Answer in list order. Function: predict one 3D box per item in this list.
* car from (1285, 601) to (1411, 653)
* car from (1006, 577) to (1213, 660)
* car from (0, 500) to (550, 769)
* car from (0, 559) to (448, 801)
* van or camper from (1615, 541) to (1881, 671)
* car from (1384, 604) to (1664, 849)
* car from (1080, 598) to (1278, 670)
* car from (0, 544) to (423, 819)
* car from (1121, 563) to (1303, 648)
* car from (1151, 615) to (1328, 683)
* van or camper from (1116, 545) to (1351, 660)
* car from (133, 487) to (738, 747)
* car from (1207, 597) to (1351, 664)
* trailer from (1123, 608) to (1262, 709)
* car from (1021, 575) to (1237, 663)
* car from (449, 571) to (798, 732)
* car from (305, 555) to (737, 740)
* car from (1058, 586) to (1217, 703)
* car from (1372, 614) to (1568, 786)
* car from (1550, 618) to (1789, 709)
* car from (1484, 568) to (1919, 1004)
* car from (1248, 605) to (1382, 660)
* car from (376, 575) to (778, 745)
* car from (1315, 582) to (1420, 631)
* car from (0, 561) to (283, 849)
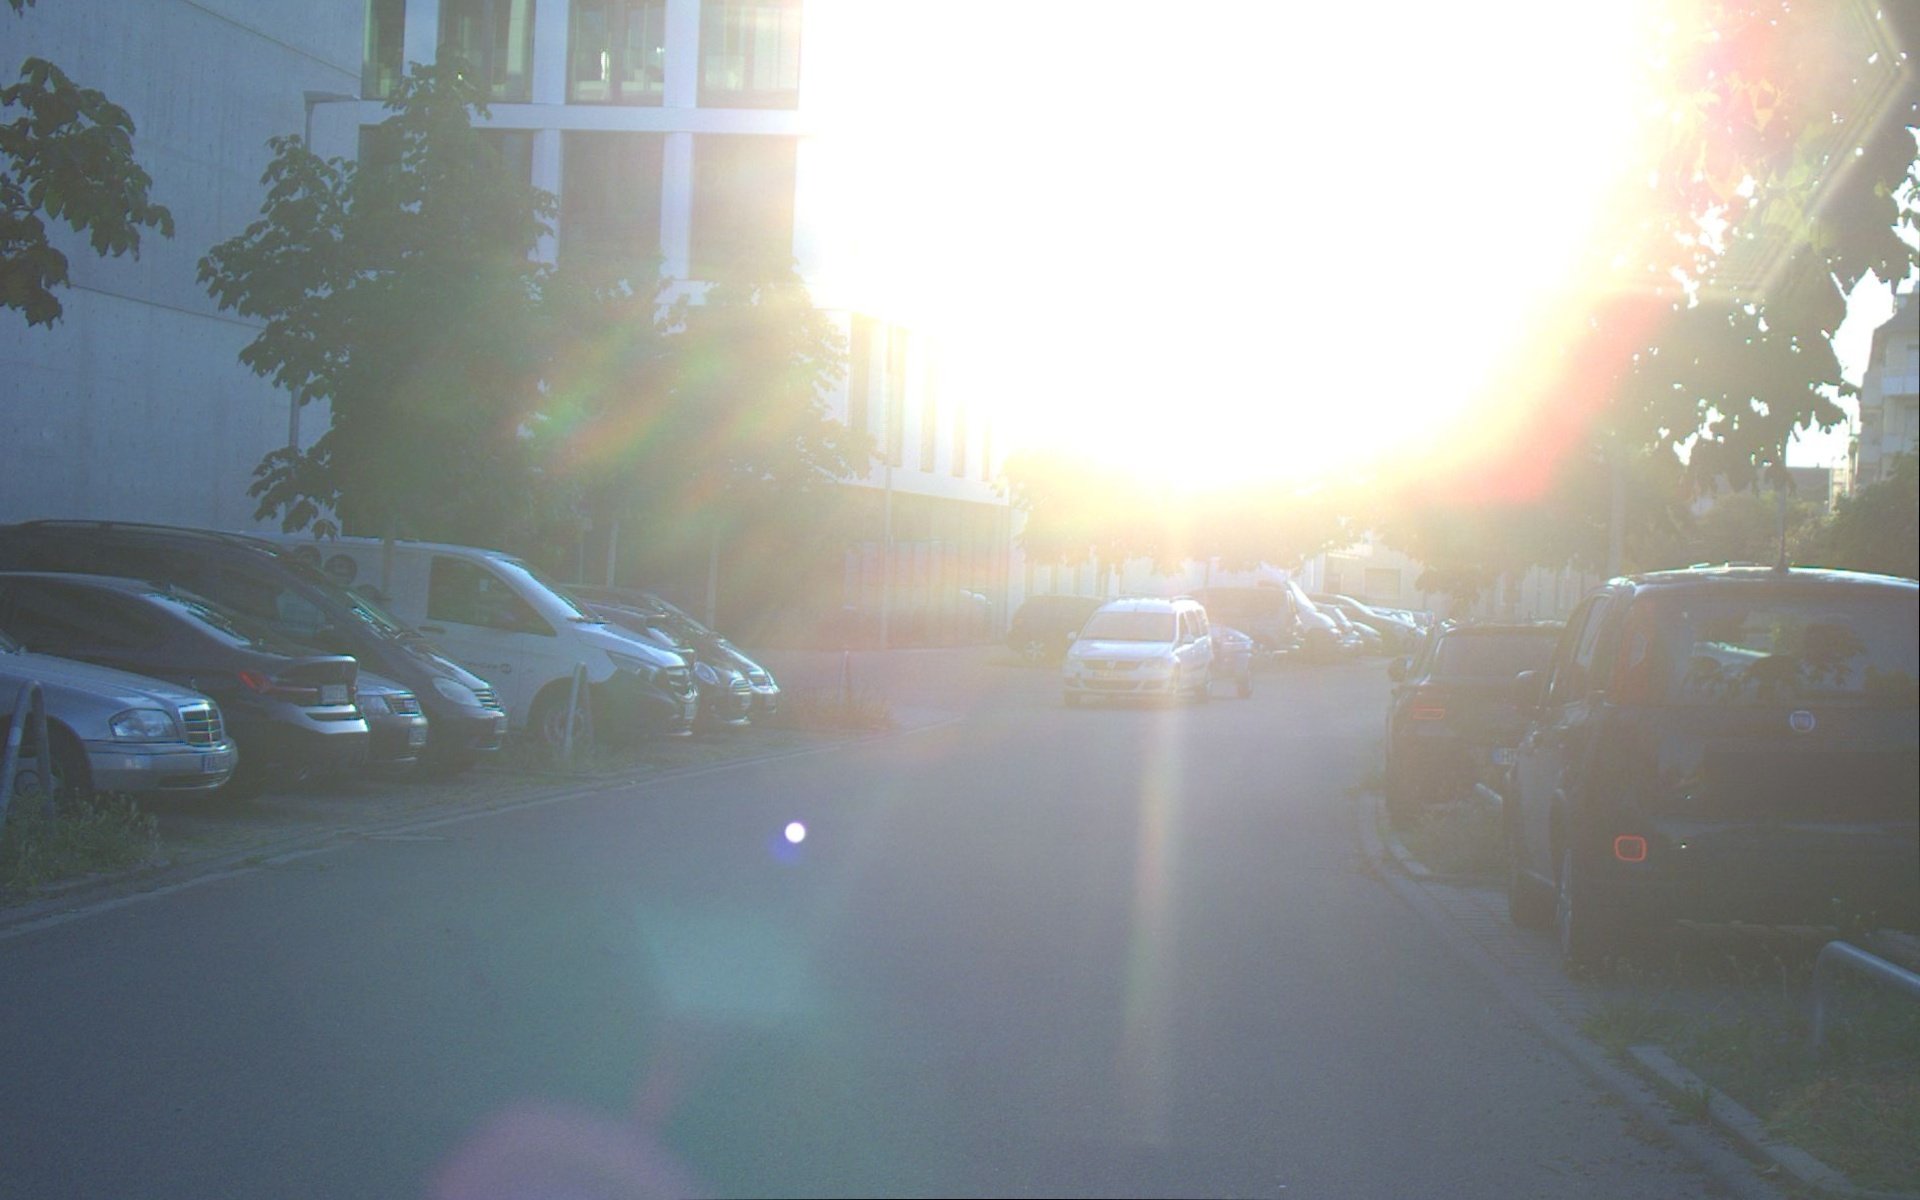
[{"bbox_3d":[11.589,0.797,102.665,3.562,1.474,1.457,1,1,14],"label":"car"},{"bbox_3d":[3.188,0.395,73.114,4.053,1.474,1.766,4,1,14],"label":"car"},{"bbox_3d":[-5.544,0.251,26.945,4.248,1.736,1.724,5,0,6],"label":"car"},{"bbox_3d":[-5.870,0.487,24.015,4.145,1.399,1.724,5,0,6],"label":"car"},{"bbox_3d":[17.425,0.100,76.300,5.612,2.780,2.428,1,1,10],"label":"van or camper"},{"bbox_3d":[3.820,0.800,23.812,1.693,1.504,4.191,1,0,7],"label":"car"},{"bbox_3d":[4.806,0.736,75.324,4.052,1.474,1.766,1,1,14],"label":"car"},{"bbox_3d":[-5.866,0.415,21.914,4.399,1.494,1.762,4,0,9],"label":"car"},{"bbox_3d":[5.887,0.112,80.047,4.051,1.901,1.735,1,1,10],"label":"car"},{"bbox_3d":[6.695,1.153,82.199,4.051,1.519,1.735,1,1,10],"label":"car"},{"bbox_3d":[6.772,0.044,85.052,5.456,2.475,1.774,4,1,14],"label":"van or camper"},{"bbox_3d":[-4.786,0.150,31.744,5.077,1.940,1.888,5,0,6],"label":"car"},{"bbox_3d":[8.321,0.780,89.591,3.562,1.646,1.457,1,1,14],"label":"car"},{"bbox_3d":[3.902,0.950,57.294,1.707,1.344,3.485,5,3,12],"label":"trailer"},{"bbox_3d":[3.411,0.374,69.197,4.052,1.474,1.767,4,2,11],"label":"car"},{"bbox_3d":[-3.914,0.582,40.213,3.637,1.572,1.660,4,0,12],"label":"car"},{"bbox_3d":[-4.418,0.474,34.865,3.988,1.517,1.605,5,0,6],"label":"car"},{"bbox_3d":[2.785,0.705,52.918,1.953,1.680,4.720,1,-1,9],"label":"car"},{"bbox_3d":[5.352,0.975,35.675,1.725,1.574,4.595,3,0,11],"label":"car"},{"bbox_3d":[12.498,1.109,60.772,4.051,1.474,1.767,1,1,9],"label":"car"},{"bbox_3d":[3.055,0.659,13.854,1.577,1.504,3.496,1,0,4],"label":"car"},{"bbox_3d":[9.960,0.908,96.540,3.562,1.474,1.457,1,1,14],"label":"car"},{"bbox_3d":[-4.055,0.618,36.670,3.887,1.483,1.651,4,0,8],"label":"car"},{"bbox_3d":[12.463,0.193,105.139,3.017,1.416,1.457,1,1,14],"label":"car"},{"bbox_3d":[-6.278,0.488,19.447,4.434,1.459,1.763,3,1,5],"label":"car"}]
